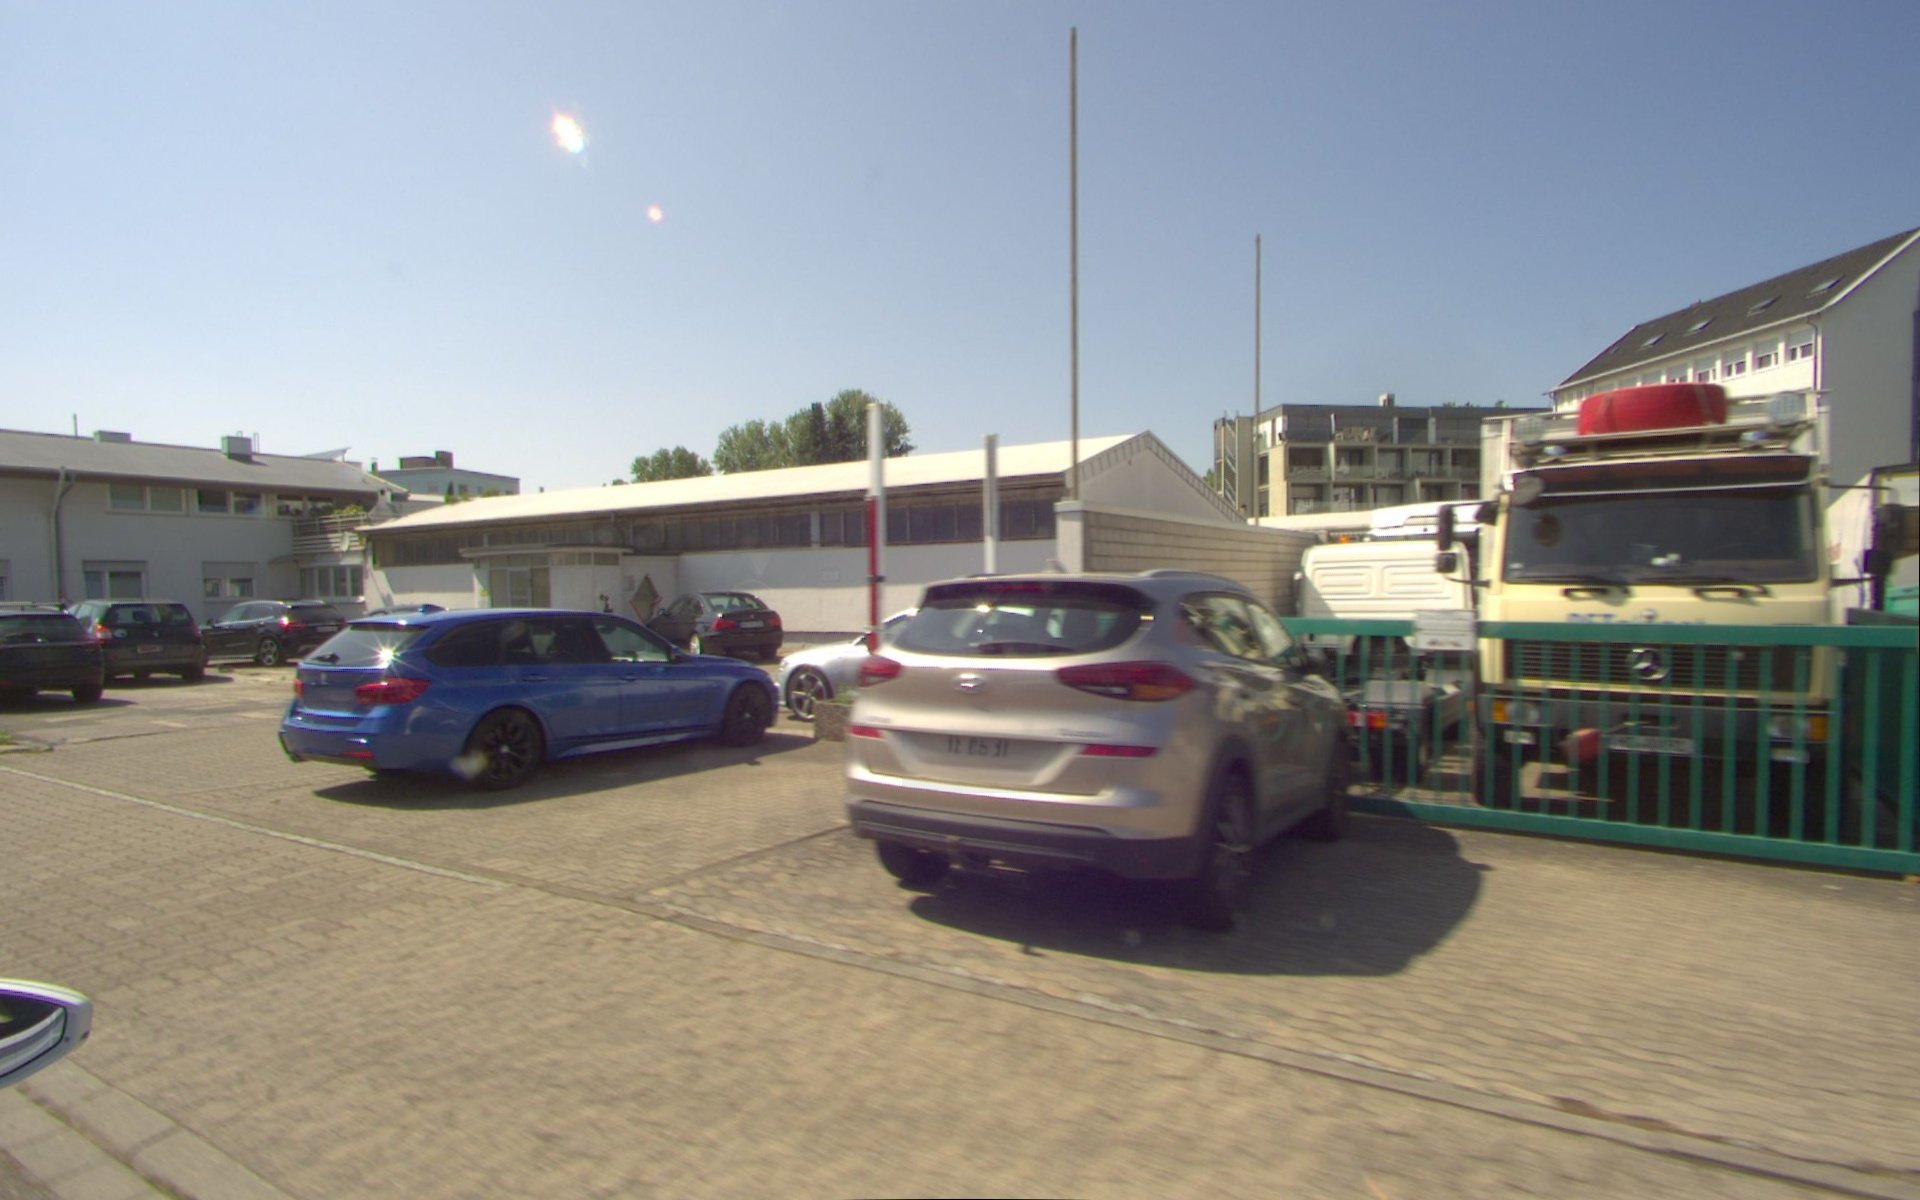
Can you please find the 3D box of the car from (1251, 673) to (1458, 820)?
[{"bbox_3d":[3.772,1.251,9.341,1.269,1.016,2.892,0,-2,32],"label":"car"}]

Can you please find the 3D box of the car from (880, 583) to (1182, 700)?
[{"bbox_3d":[1.001,0.533,14.961,4.131,1.461,1.879,0,2,36],"label":"car"}]

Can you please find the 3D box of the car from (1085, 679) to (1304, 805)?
[{"bbox_3d":[2.461,1.331,10.086,1.269,0.926,2.892,0,-2,32],"label":"car"}]

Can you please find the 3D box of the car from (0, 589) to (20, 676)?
[{"bbox_3d":[-19.611,0.594,18.794,4.230,1.579,1.808,0,2,32],"label":"car"}]

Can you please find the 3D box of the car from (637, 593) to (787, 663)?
[{"bbox_3d":[-5.464,0.534,21.728,1.694,1.342,4.155,-1,1,-37],"label":"car"}]

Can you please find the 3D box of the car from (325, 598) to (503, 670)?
[{"bbox_3d":[-11.439,0.651,20.900,4.045,1.342,1.637,0,1,35],"label":"car"}]

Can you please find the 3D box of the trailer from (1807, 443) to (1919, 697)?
[{"bbox_3d":[17.801,-0.535,18.339,3.028,3.915,8.301,0,1,37],"label":"trailer"}]

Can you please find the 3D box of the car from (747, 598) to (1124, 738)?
[{"bbox_3d":[-0.356,0.736,12.551,4.387,1.461,1.883,0,1,29],"label":"car"}]

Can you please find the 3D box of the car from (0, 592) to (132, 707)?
[{"bbox_3d":[-15.174,0.677,15.733,4.879,1.589,1.854,0,2,32],"label":"car"}]

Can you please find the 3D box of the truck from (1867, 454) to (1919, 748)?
[{"bbox_3d":[12.832,0.003,11.173,2.913,3.659,8.251,0,1,35],"label":"truck"}]

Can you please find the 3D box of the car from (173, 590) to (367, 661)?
[{"bbox_3d":[-16.347,0.576,23.749,4.078,1.517,1.760,0,3,21],"label":"car"}]

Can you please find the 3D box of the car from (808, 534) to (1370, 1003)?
[{"bbox_3d":[1.144,0.744,5.912,1.741,1.702,4.197,-1,-4,31],"label":"car"}]

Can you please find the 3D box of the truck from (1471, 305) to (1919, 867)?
[{"bbox_3d":[6.883,0.065,10.022,2.491,3.466,7.507,0,-2,32],"label":"truck"}]

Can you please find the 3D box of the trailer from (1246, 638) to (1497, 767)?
[{"bbox_3d":[5.967,1.247,14.021,2.266,1.212,5.448,0,0,33],"label":"trailer"}]

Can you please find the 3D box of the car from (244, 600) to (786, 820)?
[{"bbox_3d":[-3.794,0.778,9.374,1.864,1.461,4.343,0,1,31],"label":"car"}]

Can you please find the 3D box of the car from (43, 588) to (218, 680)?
[{"bbox_3d":[-16.163,0.624,19.478,3.570,1.615,1.755,1,-2,36],"label":"car"}]
